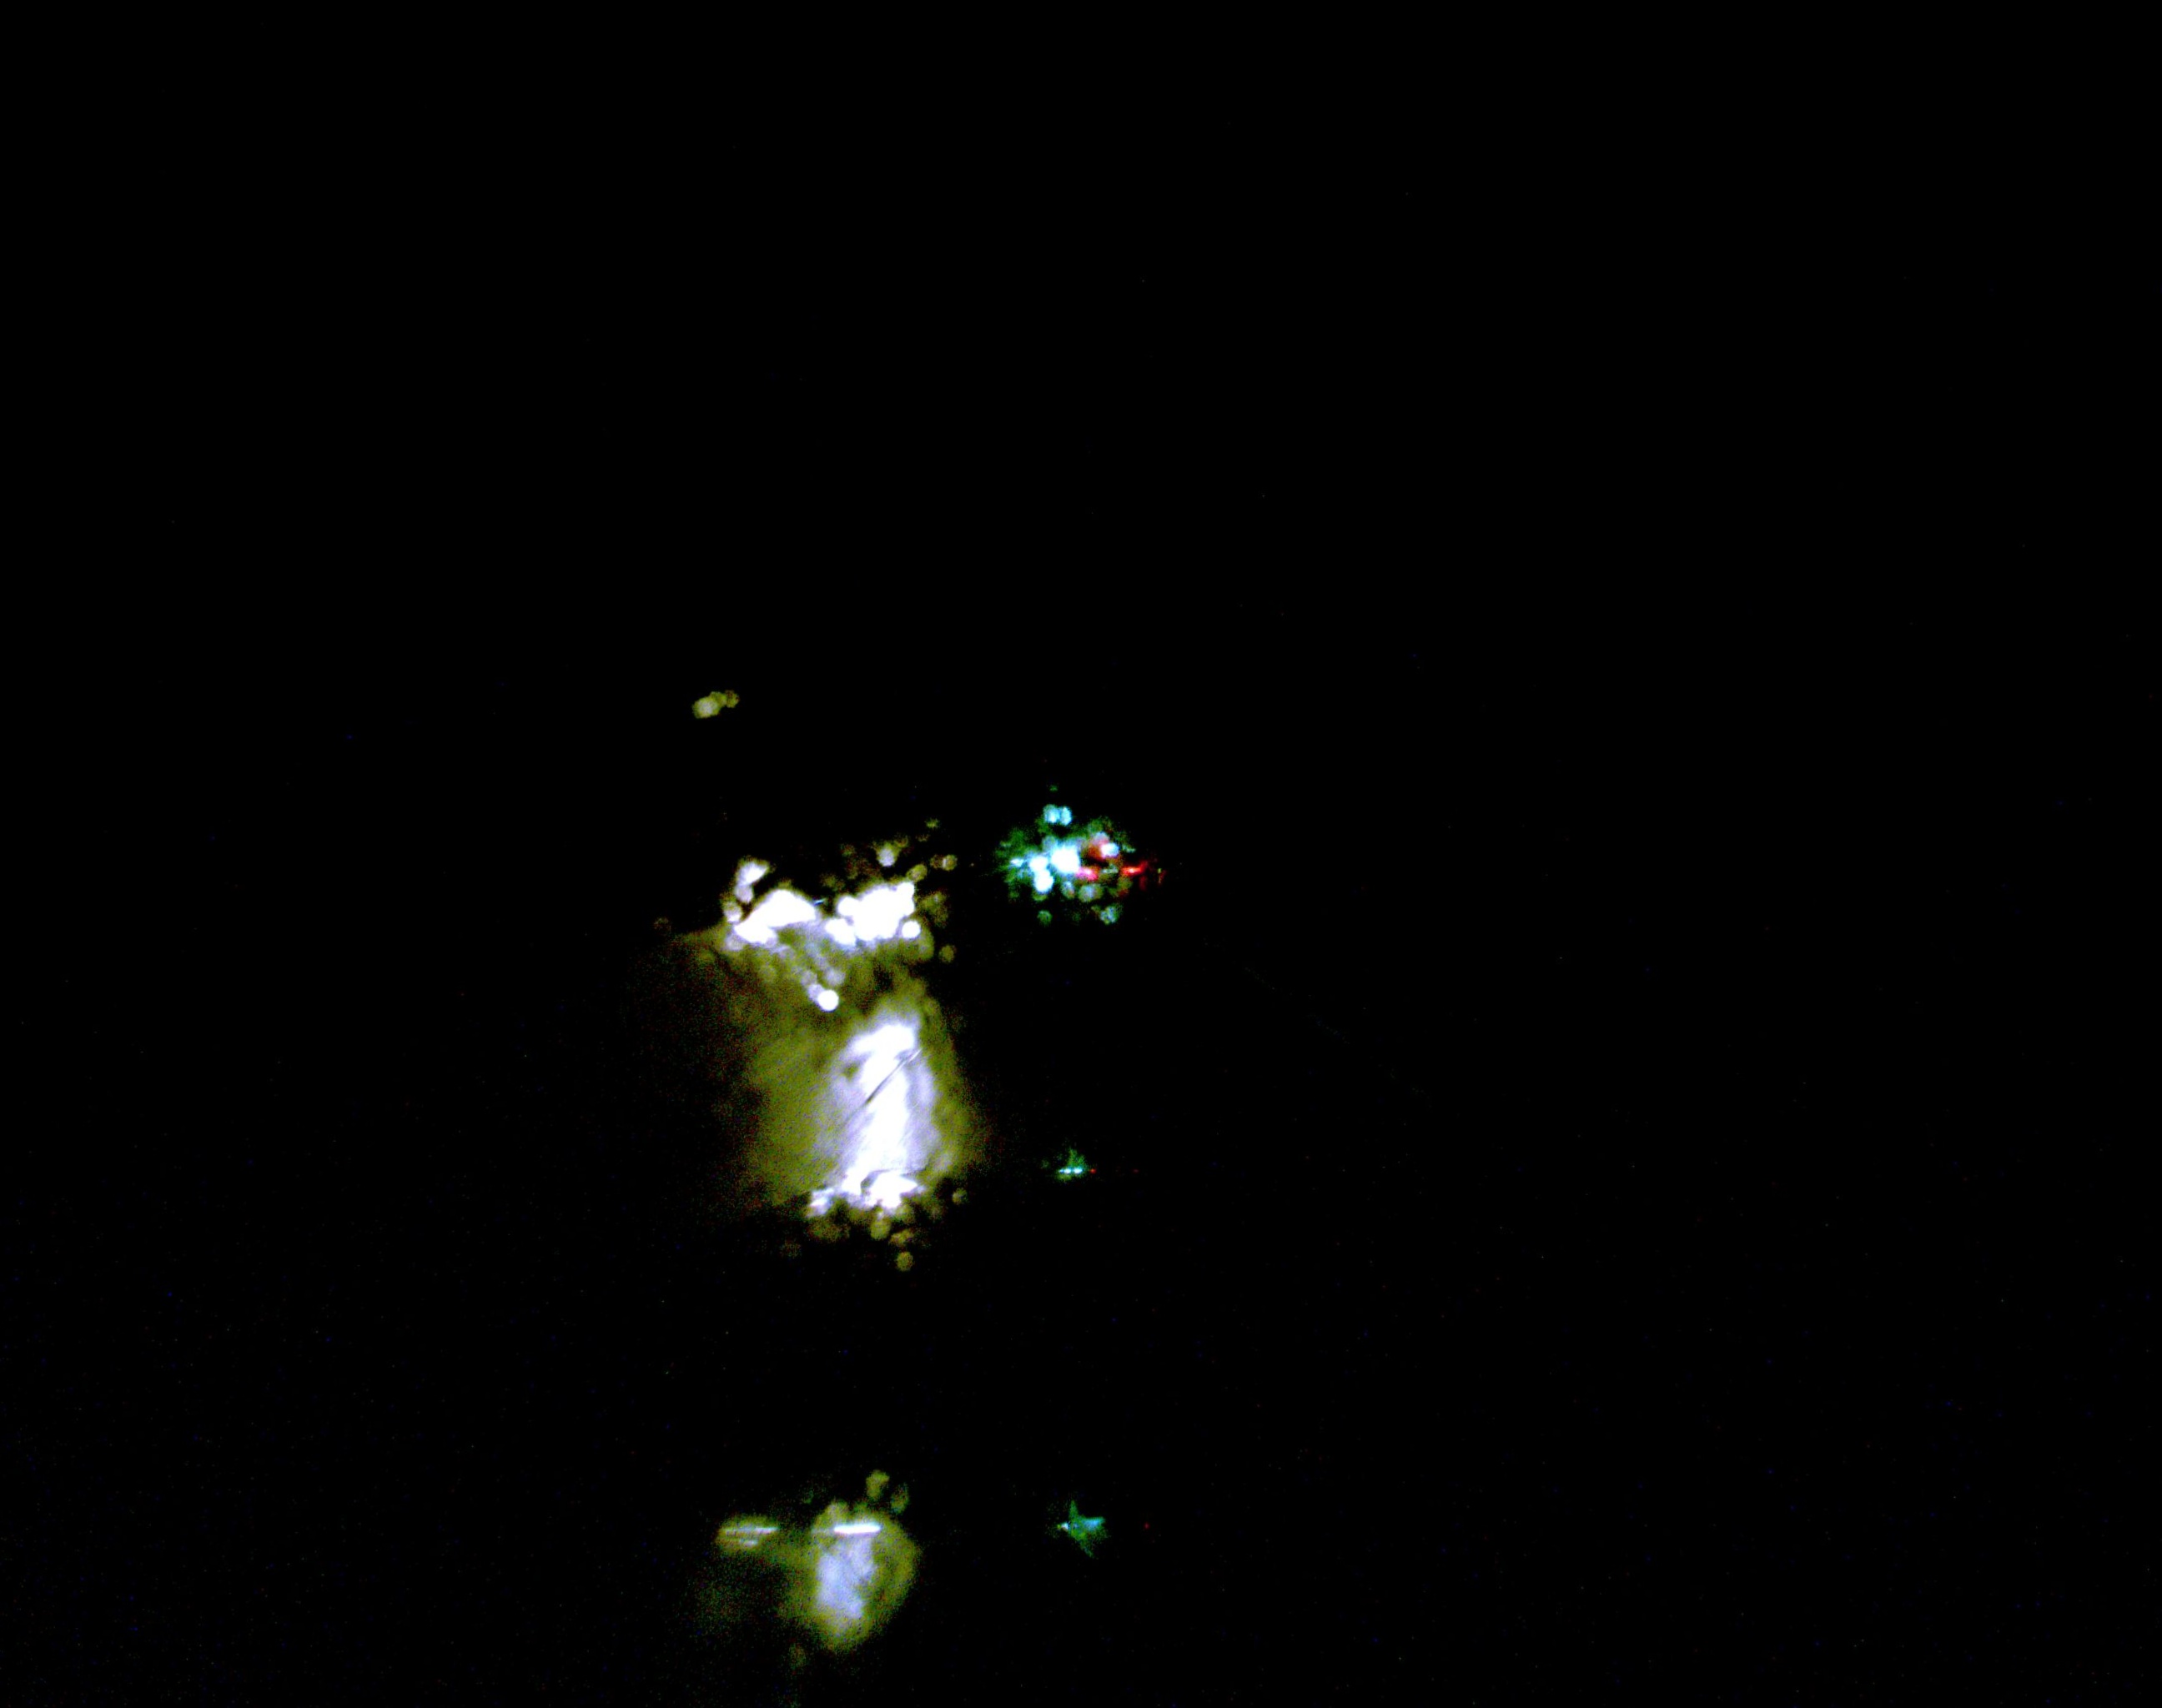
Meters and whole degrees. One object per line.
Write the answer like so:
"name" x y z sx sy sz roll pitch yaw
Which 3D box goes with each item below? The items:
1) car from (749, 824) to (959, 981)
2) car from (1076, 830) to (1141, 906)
"car" -3.056 0.542 11.898 1.830 1.844 4.001 -2 1 1
"car" 1.042 0.440 30.318 2.172 2.557 4.511 2 1 2
